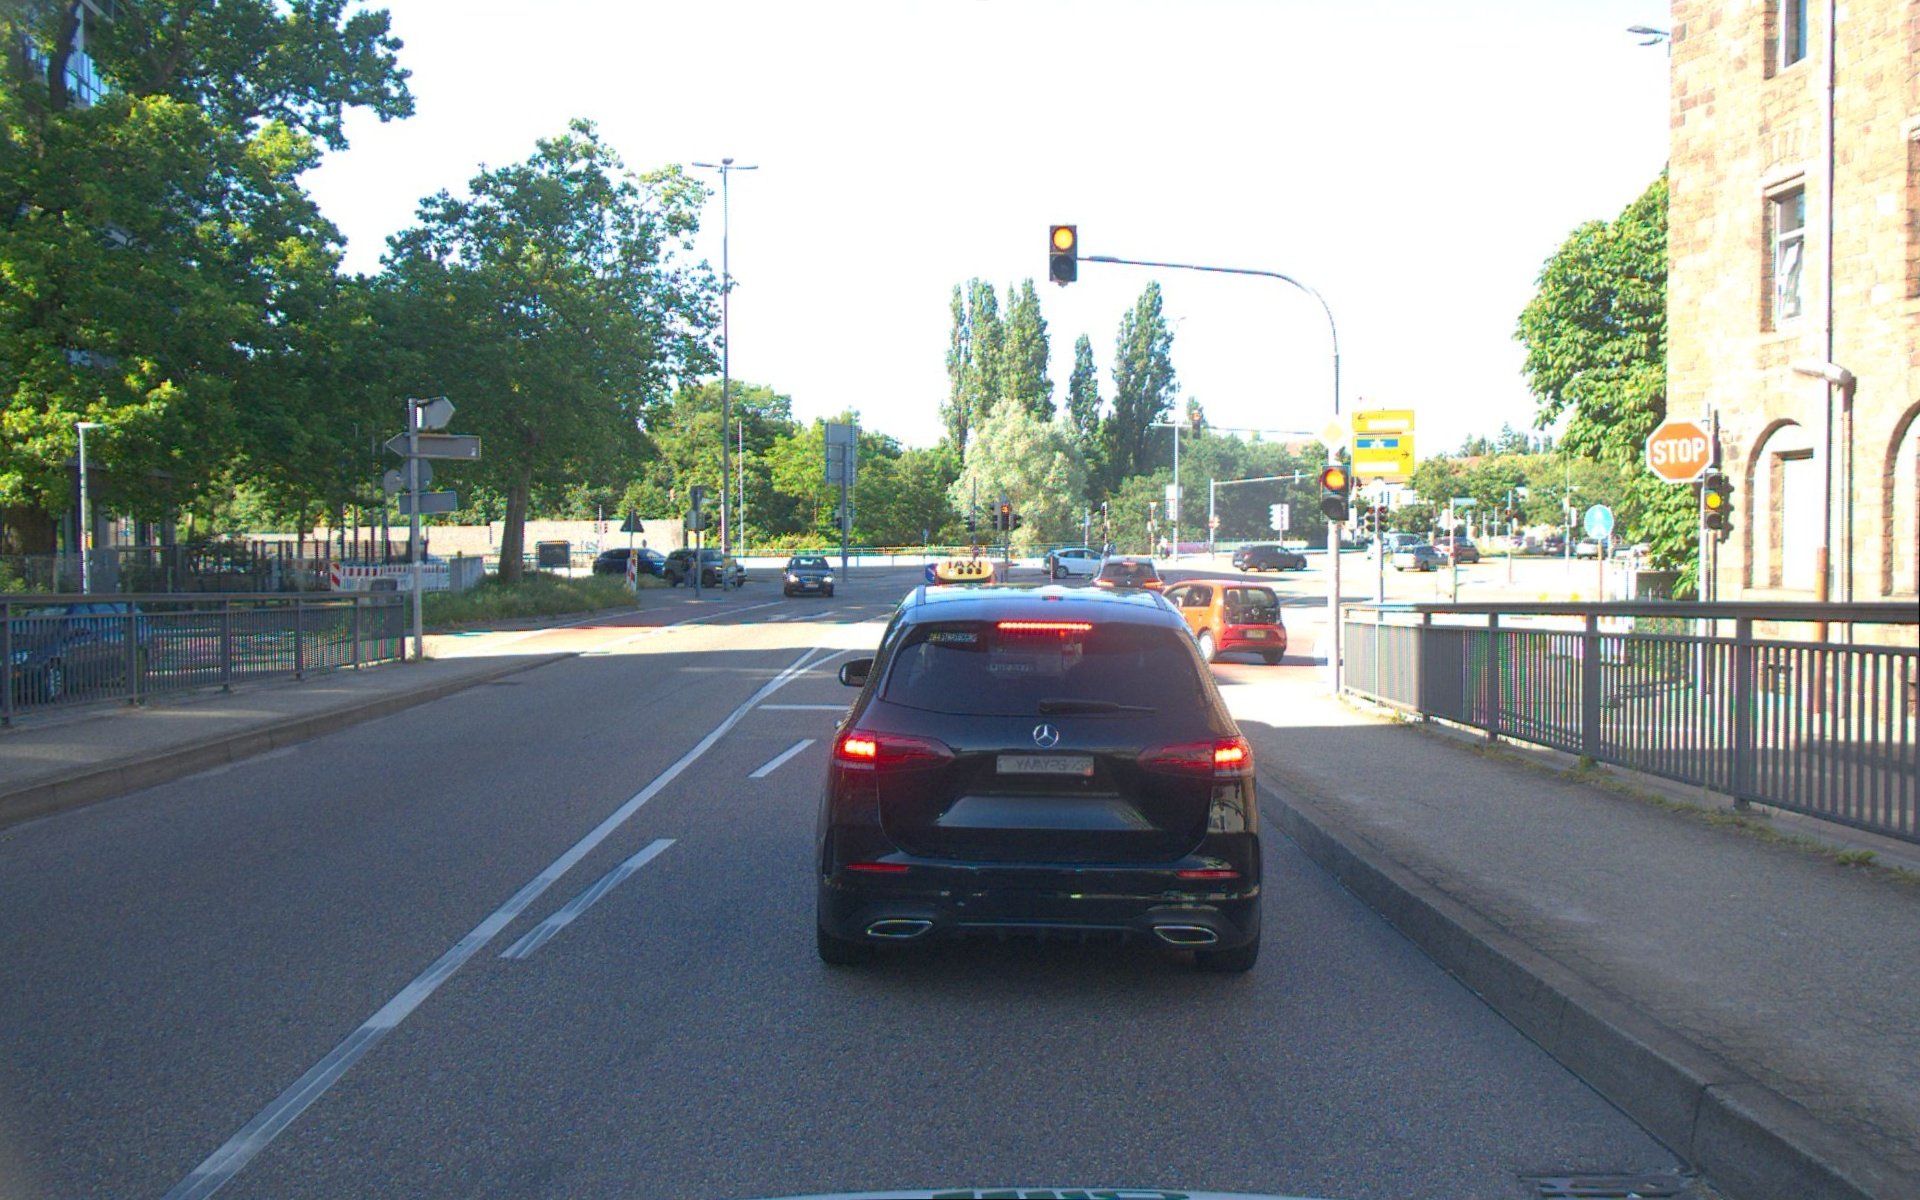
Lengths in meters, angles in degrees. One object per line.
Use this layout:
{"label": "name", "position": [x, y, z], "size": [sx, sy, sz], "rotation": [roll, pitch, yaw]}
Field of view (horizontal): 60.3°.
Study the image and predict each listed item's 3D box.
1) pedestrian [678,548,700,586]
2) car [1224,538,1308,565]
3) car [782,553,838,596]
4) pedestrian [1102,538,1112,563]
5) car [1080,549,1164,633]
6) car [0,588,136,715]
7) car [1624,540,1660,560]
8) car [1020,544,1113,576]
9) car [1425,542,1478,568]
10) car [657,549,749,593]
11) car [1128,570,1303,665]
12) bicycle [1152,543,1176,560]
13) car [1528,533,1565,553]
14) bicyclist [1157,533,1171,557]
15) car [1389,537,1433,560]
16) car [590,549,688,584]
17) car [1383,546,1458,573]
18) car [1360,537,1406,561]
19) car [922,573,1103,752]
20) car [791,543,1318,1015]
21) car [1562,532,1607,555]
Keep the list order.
{"label": "pedestrian", "position": [-11.105, -1.361, 67.845], "size": [0.690, 1.552, 0.744], "rotation": [1, 1, 10]}
{"label": "car", "position": [16.798, -2.661, 90.667], "size": [4.540, 1.317, 1.864], "rotation": [-3, 3, -34]}
{"label": "car", "position": [-5.466, -0.956, 59.791], "size": [1.710, 1.431, 4.192], "rotation": [-1, 2, -9]}
{"label": "pedestrian", "position": [9.552, -3.225, 107.568], "size": [0.443, 1.613, 0.499], "rotation": [0, 2, 40]}
{"label": "car", "position": [4.064, -0.281, 42.151], "size": [1.686, 1.843, 4.299], "rotation": [2, 4, 0]}
{"label": "car", "position": [-14.760, 0.729, 25.803], "size": [1.814, 1.722, 4.000], "rotation": [0, 2, -1]}
{"label": "car", "position": [53.324, -3.935, 129.280], "size": [1.957, 1.466, 4.287], "rotation": [0, 3, 31]}
{"label": "car", "position": [5.196, -1.965, 80.838], "size": [4.219, 1.389, 1.997], "rotation": [-2, 3, -7]}
{"label": "car", "position": [30.628, -2.817, 103.036], "size": [1.958, 1.480, 4.540], "rotation": [0, 3, 33]}
{"label": "car", "position": [-11.073, -1.259, 71.183], "size": [3.929, 1.651, 1.800], "rotation": [5, 4, 41]}
{"label": "car", "position": [4.768, 0.280, 31.299], "size": [1.699, 1.548, 3.461], "rotation": [-1, 3, -24]}
{"label": "bicycle", "position": [13.510, -3.217, 109.576], "size": [0.518, 1.068, 1.978], "rotation": [0, 2, 41]}
{"label": "car", "position": [43.255, -4.185, 121.968], "size": [1.749, 1.381, 4.070], "rotation": [0, 3, 31]}
{"label": "bicyclist", "position": [13.511, -3.634, 109.555], "size": [0.518, 1.578, 0.802], "rotation": [0, 2, 42]}
{"label": "car", "position": [32.844, -3.732, 120.380], "size": [1.846, 1.605, 3.987], "rotation": [1, 2, 35]}
{"label": "car", "position": [-15.244, -1.615, 78.544], "size": [4.305, 1.619, 1.920], "rotation": [1, 3, 28]}
{"label": "car", "position": [25.187, -2.205, 90.454], "size": [4.561, 1.317, 1.967], "rotation": [-4, 4, -45]}
{"label": "car", "position": [29.442, -3.545, 115.171], "size": [1.846, 1.605, 3.987], "rotation": [1, 2, 35]}
{"label": "car", "position": [0.521, 0.538, 16.729], "size": [1.606, 1.556, 3.475], "rotation": [-1, 2, 1]}
{"label": "car", "position": [0.308, 0.609, 7.838], "size": [1.839, 1.641, 4.000], "rotation": [1, 1, -1]}
{"label": "car", "position": [42.852, -3.896, 113.405], "size": [1.958, 1.466, 4.811], "rotation": [0, 3, 32]}
